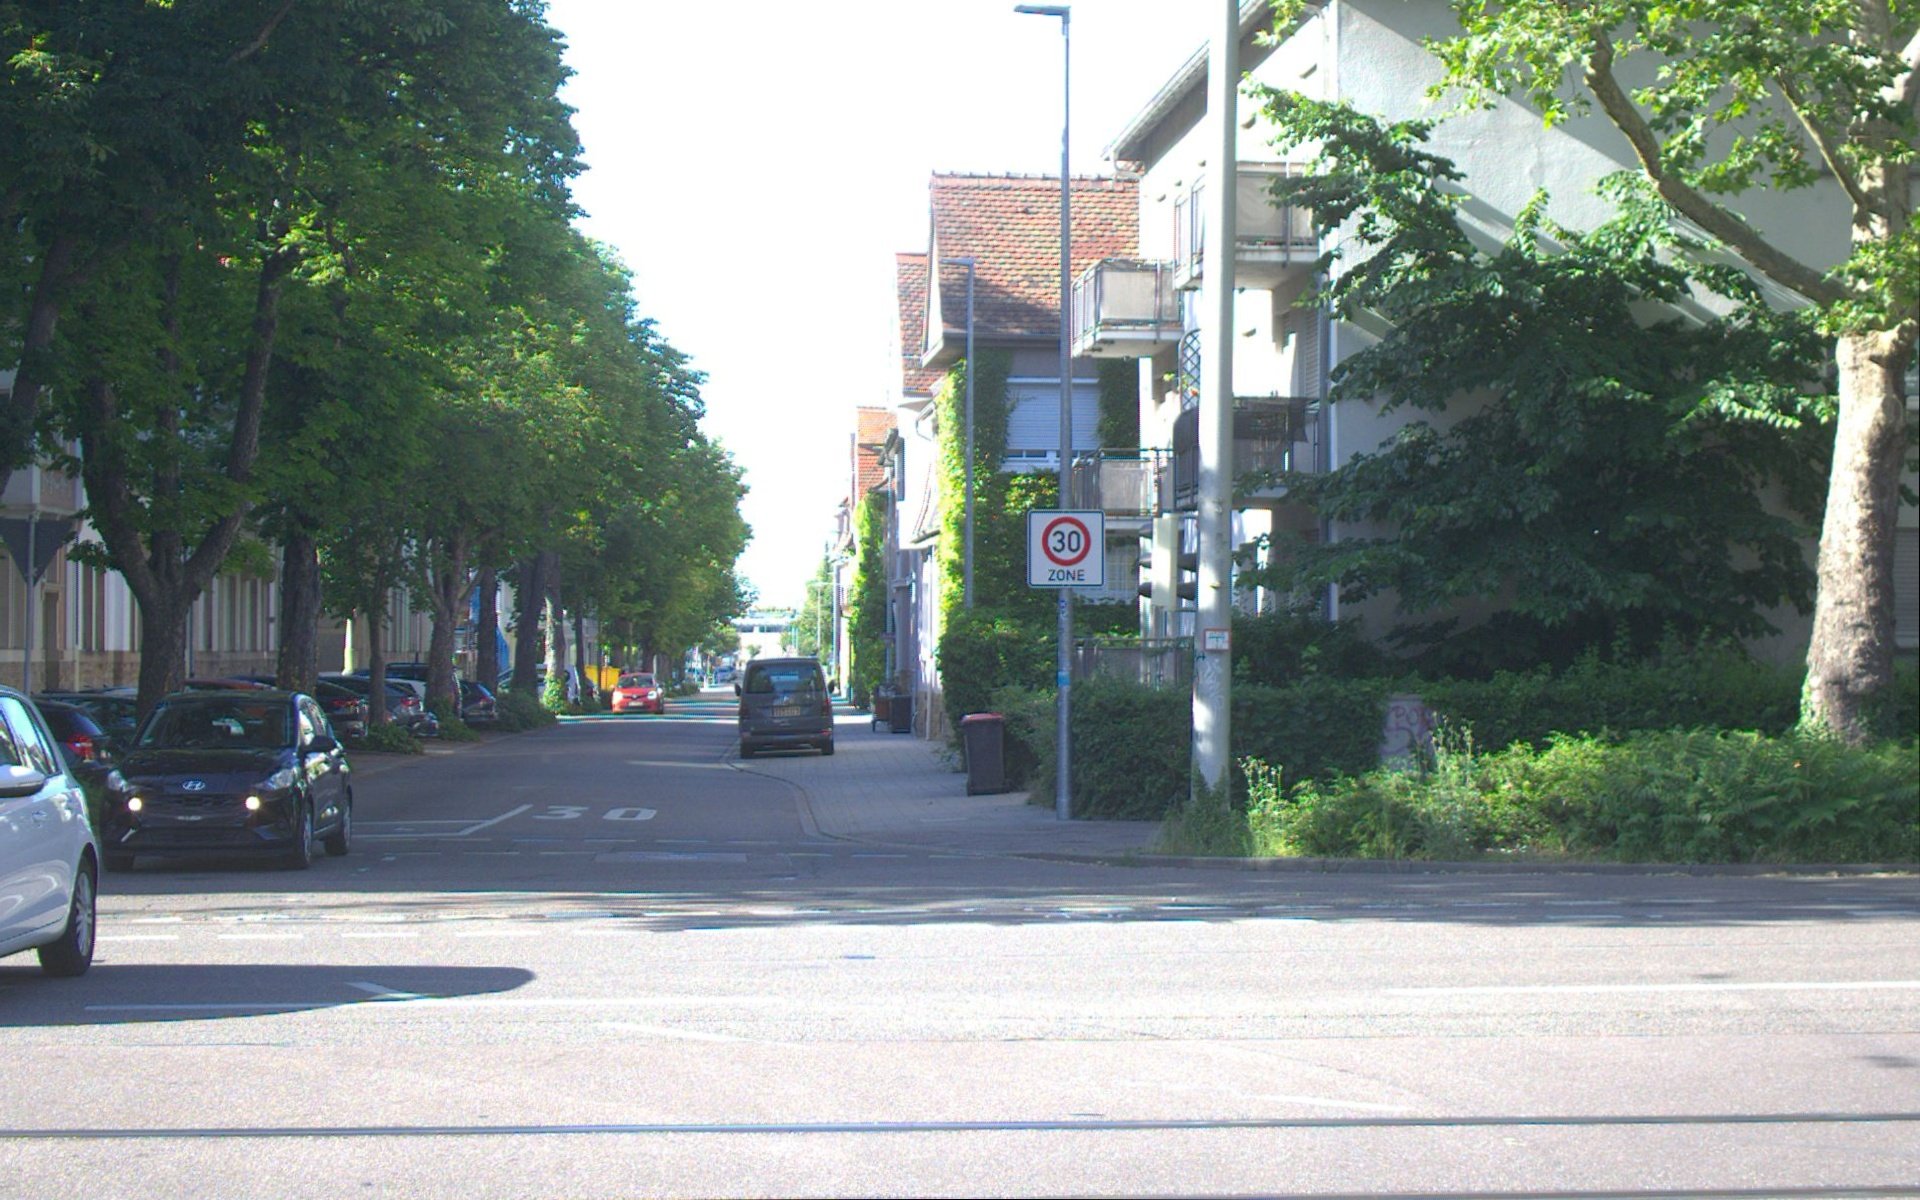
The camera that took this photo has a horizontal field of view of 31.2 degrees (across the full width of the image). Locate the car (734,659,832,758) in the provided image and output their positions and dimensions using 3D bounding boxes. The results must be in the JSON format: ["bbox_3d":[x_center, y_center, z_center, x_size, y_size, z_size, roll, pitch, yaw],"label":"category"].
[{"bbox_3d":[-3.583,2.174,69.848,1.865,1.910,4.782,1,-1,-3],"label":"car"}]

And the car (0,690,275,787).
[{"bbox_3d":[-12.335,2.036,50.575,4.211,1.344,1.703,1,-2,-3],"label":"car"}]

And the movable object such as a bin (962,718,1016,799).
[{"bbox_3d":[0.390,2.142,46.451,0.597,1.041,0.707,-3,-1,-5],"label":"movable object such as a bin"}]

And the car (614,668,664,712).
[{"bbox_3d":[-11.287,3.150,121.017,1.641,1.503,3.702,-1,-1,-3],"label":"car"}]

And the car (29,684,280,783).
[{"bbox_3d":[-12.329,2.050,52.744,3.433,1.447,1.703,1,-2,-1],"label":"car"}]

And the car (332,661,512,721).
[{"bbox_3d":[-14.230,2.413,91.114,4.531,1.498,1.892,1,-2,-4],"label":"car"}]

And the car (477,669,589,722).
[{"bbox_3d":[-15.627,3.514,125.989,3.986,1.755,1.798,3,-2,-6],"label":"car"}]

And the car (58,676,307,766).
[{"bbox_3d":[-13.598,2.109,60.282,3.986,1.503,1.722,-1,-2,-1],"label":"car"}]

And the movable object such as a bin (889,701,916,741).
[{"bbox_3d":[-1.524,3.190,90.773,0.647,1.036,0.828,0,-1,-5],"label":"movable object such as a bin"}]

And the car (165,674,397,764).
[{"bbox_3d":[-12.705,2.227,64.515,3.986,1.561,1.863,1,-2,-1],"label":"car"}]

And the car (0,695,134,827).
[{"bbox_3d":[-11.567,1.842,39.351,3.882,1.471,1.615,-1,-2,-3],"label":"car"}]

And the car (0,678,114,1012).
[{"bbox_3d":[-5.135,1.094,15.637,1.806,1.453,4.000,0,-2,-4],"label":"car"}]

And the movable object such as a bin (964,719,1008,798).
[{"bbox_3d":[0.360,2.178,47.189,0.483,1.041,0.657,-3,-1,-5],"label":"movable object such as a bin"}]

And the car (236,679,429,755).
[{"bbox_3d":[-13.929,2.588,76.503,3.986,1.587,1.859,1,-1,-3],"label":"car"}]

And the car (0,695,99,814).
[{"bbox_3d":[-12.483,1.854,41.556,3.881,1.410,1.615,0,-1,-9],"label":"car"}]

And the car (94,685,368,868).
[{"bbox_3d":[-6.170,1.462,29.454,1.660,1.459,3.808,0,-1,-2],"label":"car"}]
